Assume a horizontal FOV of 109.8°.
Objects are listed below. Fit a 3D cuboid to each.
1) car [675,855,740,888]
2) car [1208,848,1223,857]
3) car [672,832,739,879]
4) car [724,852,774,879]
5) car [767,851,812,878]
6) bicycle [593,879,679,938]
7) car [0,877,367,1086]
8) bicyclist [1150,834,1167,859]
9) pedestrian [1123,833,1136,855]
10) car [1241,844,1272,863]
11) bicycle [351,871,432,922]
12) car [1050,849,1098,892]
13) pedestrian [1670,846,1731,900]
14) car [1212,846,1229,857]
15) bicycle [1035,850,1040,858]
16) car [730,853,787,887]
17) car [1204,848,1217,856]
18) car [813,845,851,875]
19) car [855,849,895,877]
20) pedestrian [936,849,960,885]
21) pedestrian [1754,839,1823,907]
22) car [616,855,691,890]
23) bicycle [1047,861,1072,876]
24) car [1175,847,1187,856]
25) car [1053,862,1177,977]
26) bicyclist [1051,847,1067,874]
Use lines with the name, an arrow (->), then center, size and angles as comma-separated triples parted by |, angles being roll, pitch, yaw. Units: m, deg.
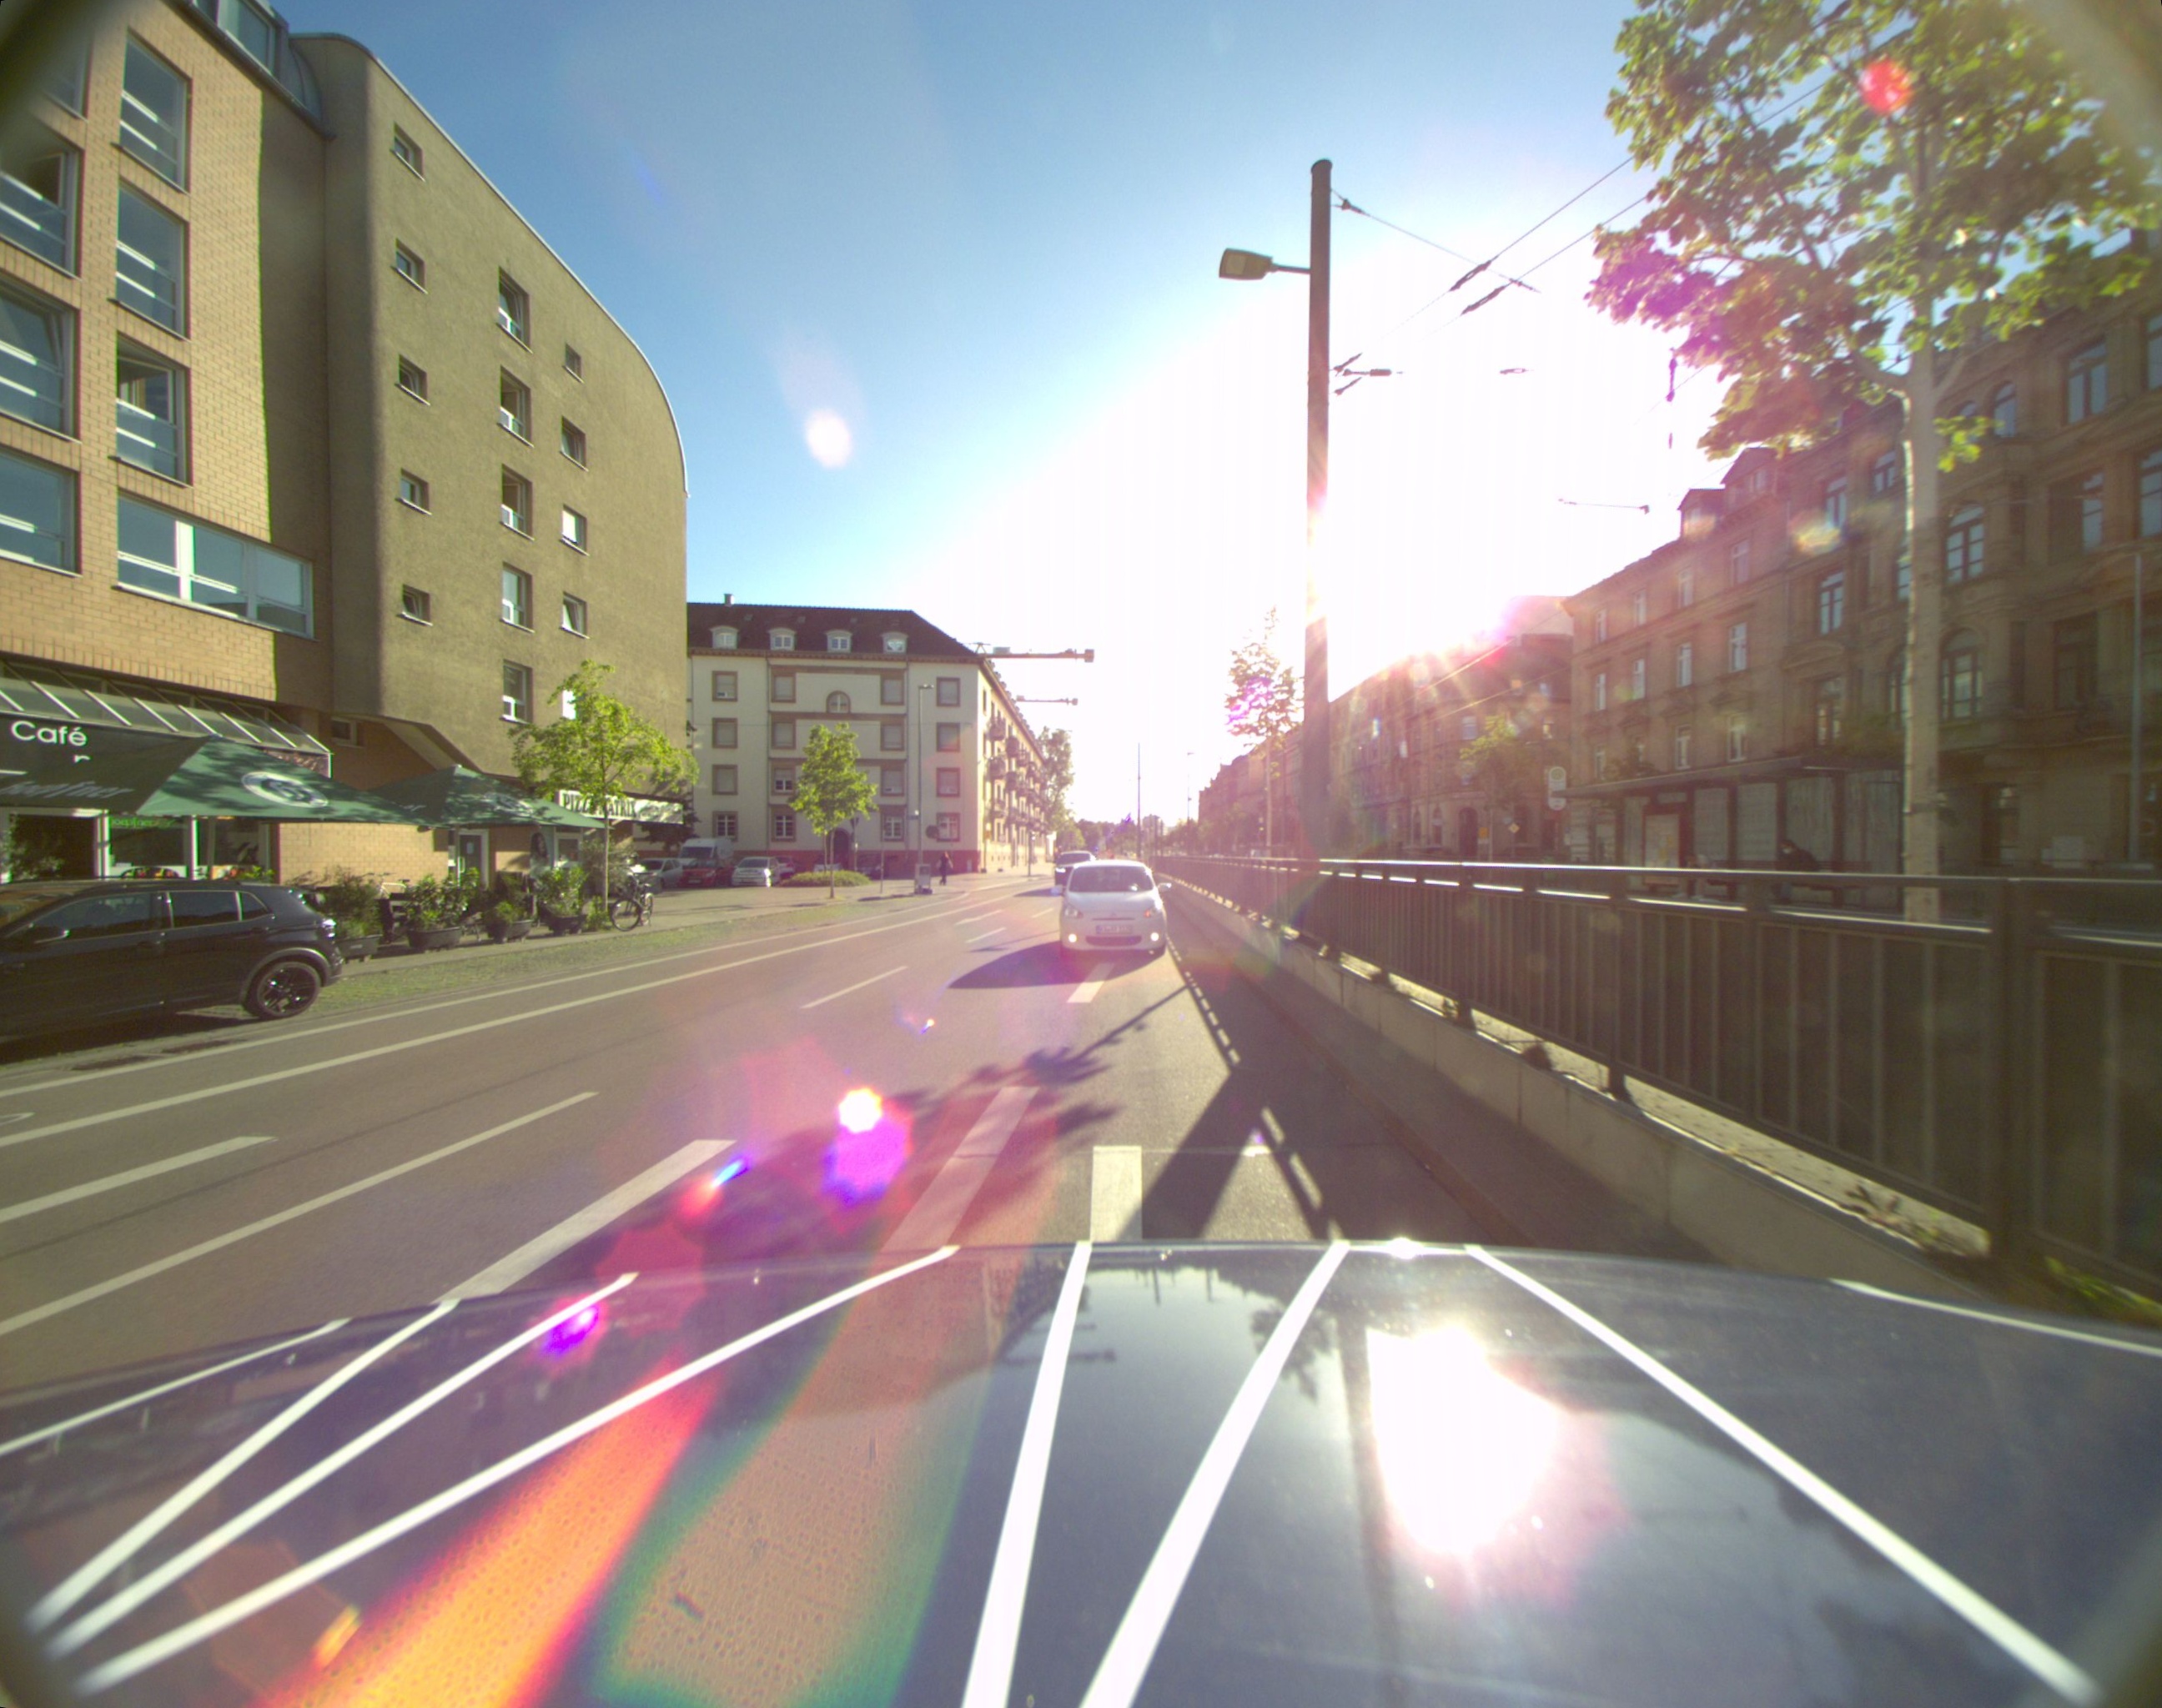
car -> -17.666, 0.786, 36.108 | 1.637, 1.444, 3.653 | -3, 0, -8
car -> 24.340, -0.248, 137.603 | 1.998, 1.529, 4.984 | -2, 0, 2
car -> -22.944, -0.002, 46.689 | 1.929, 2.595, 5.955 | -1, 3, -9
car -> -20.805, 0.676, 47.801 | 1.698, 1.470, 4.435 | -3, 2, -8
car -> -18.318, 0.626, 47.921 | 1.698, 1.421, 4.435 | -3, 2, -9
bicycle -> -10.046, 1.204, 17.253 | 0.767, 1.075, 1.997 | 4, 2, -2
car -> -9.895, 1.133, 7.309 | 1.724, 1.627, 4.233 | 0, 1, 8
bicyclist -> 5.413, -0.523, 53.160 | 0.886, 1.763, 0.854 | -1, 1, -25
pedestrian -> 3.253, -0.689, 50.840 | 0.791, 1.449, 0.946 | 0, 1, -1
car -> 18.418, -0.069, 79.950 | 1.999, 1.869, 4.582 | -3, 0, -2
bicycle -> -17.007, 1.032, 18.783 | 0.615, 1.162, 1.536 | 1, 1, -2
car -> -0.262, 0.694, 34.154 | 1.899, 1.730, 4.000 | -2, 0, 2
pedestrian -> 13.815, 0.417, 16.962 | 0.723, 1.161, 0.721 | 1, 1, 2
car -> 24.109, -0.407, 131.328 | 1.998, 1.688, 4.887 | -2, 0, 1
bicycle -> -5.482, -0.004, 96.581 | 0.419, 1.089, 2.198 | 0, 1, 2
car -> -15.421, 0.729, 36.507 | 1.668, 1.466, 3.833 | -3, 0, -10
car -> 24.525, -0.417, 144.285 | 1.753, 1.471, 4.028 | -2, 0, 2
car -> -15.832, 0.341, 48.528 | 1.629, 1.677, 4.434 | -1, 2, -10
car -> -13.126, 0.549, 48.645 | 1.697, 1.676, 4.437 | -3, 0, -6
pedestrian -> -6.829, 0.646, 39.084 | 0.885, 1.754, 1.106 | 1, 2, 11
pedestrian -> 13.875, 0.357, 14.919 | 0.647, 1.301, 0.721 | 1, 1, 2
car -> -20.061, 0.820, 35.813 | 1.637, 1.446, 3.732 | -3, 0, -5
bicycle -> -1.478, 0.950, 51.062 | 0.771, 0.947, 2.193 | -1, 1, -28
car -> 19.417, -0.454, 147.240 | 1.800, 1.630, 4.477 | -1, 1, 2
car -> 0.511, 0.904, 12.375 | 1.634, 1.499, 4.351 | -1, 0, 2
bicyclist -> -1.478, 0.430, 51.055 | 0.736, 1.753, 0.935 | -1, 1, -30
